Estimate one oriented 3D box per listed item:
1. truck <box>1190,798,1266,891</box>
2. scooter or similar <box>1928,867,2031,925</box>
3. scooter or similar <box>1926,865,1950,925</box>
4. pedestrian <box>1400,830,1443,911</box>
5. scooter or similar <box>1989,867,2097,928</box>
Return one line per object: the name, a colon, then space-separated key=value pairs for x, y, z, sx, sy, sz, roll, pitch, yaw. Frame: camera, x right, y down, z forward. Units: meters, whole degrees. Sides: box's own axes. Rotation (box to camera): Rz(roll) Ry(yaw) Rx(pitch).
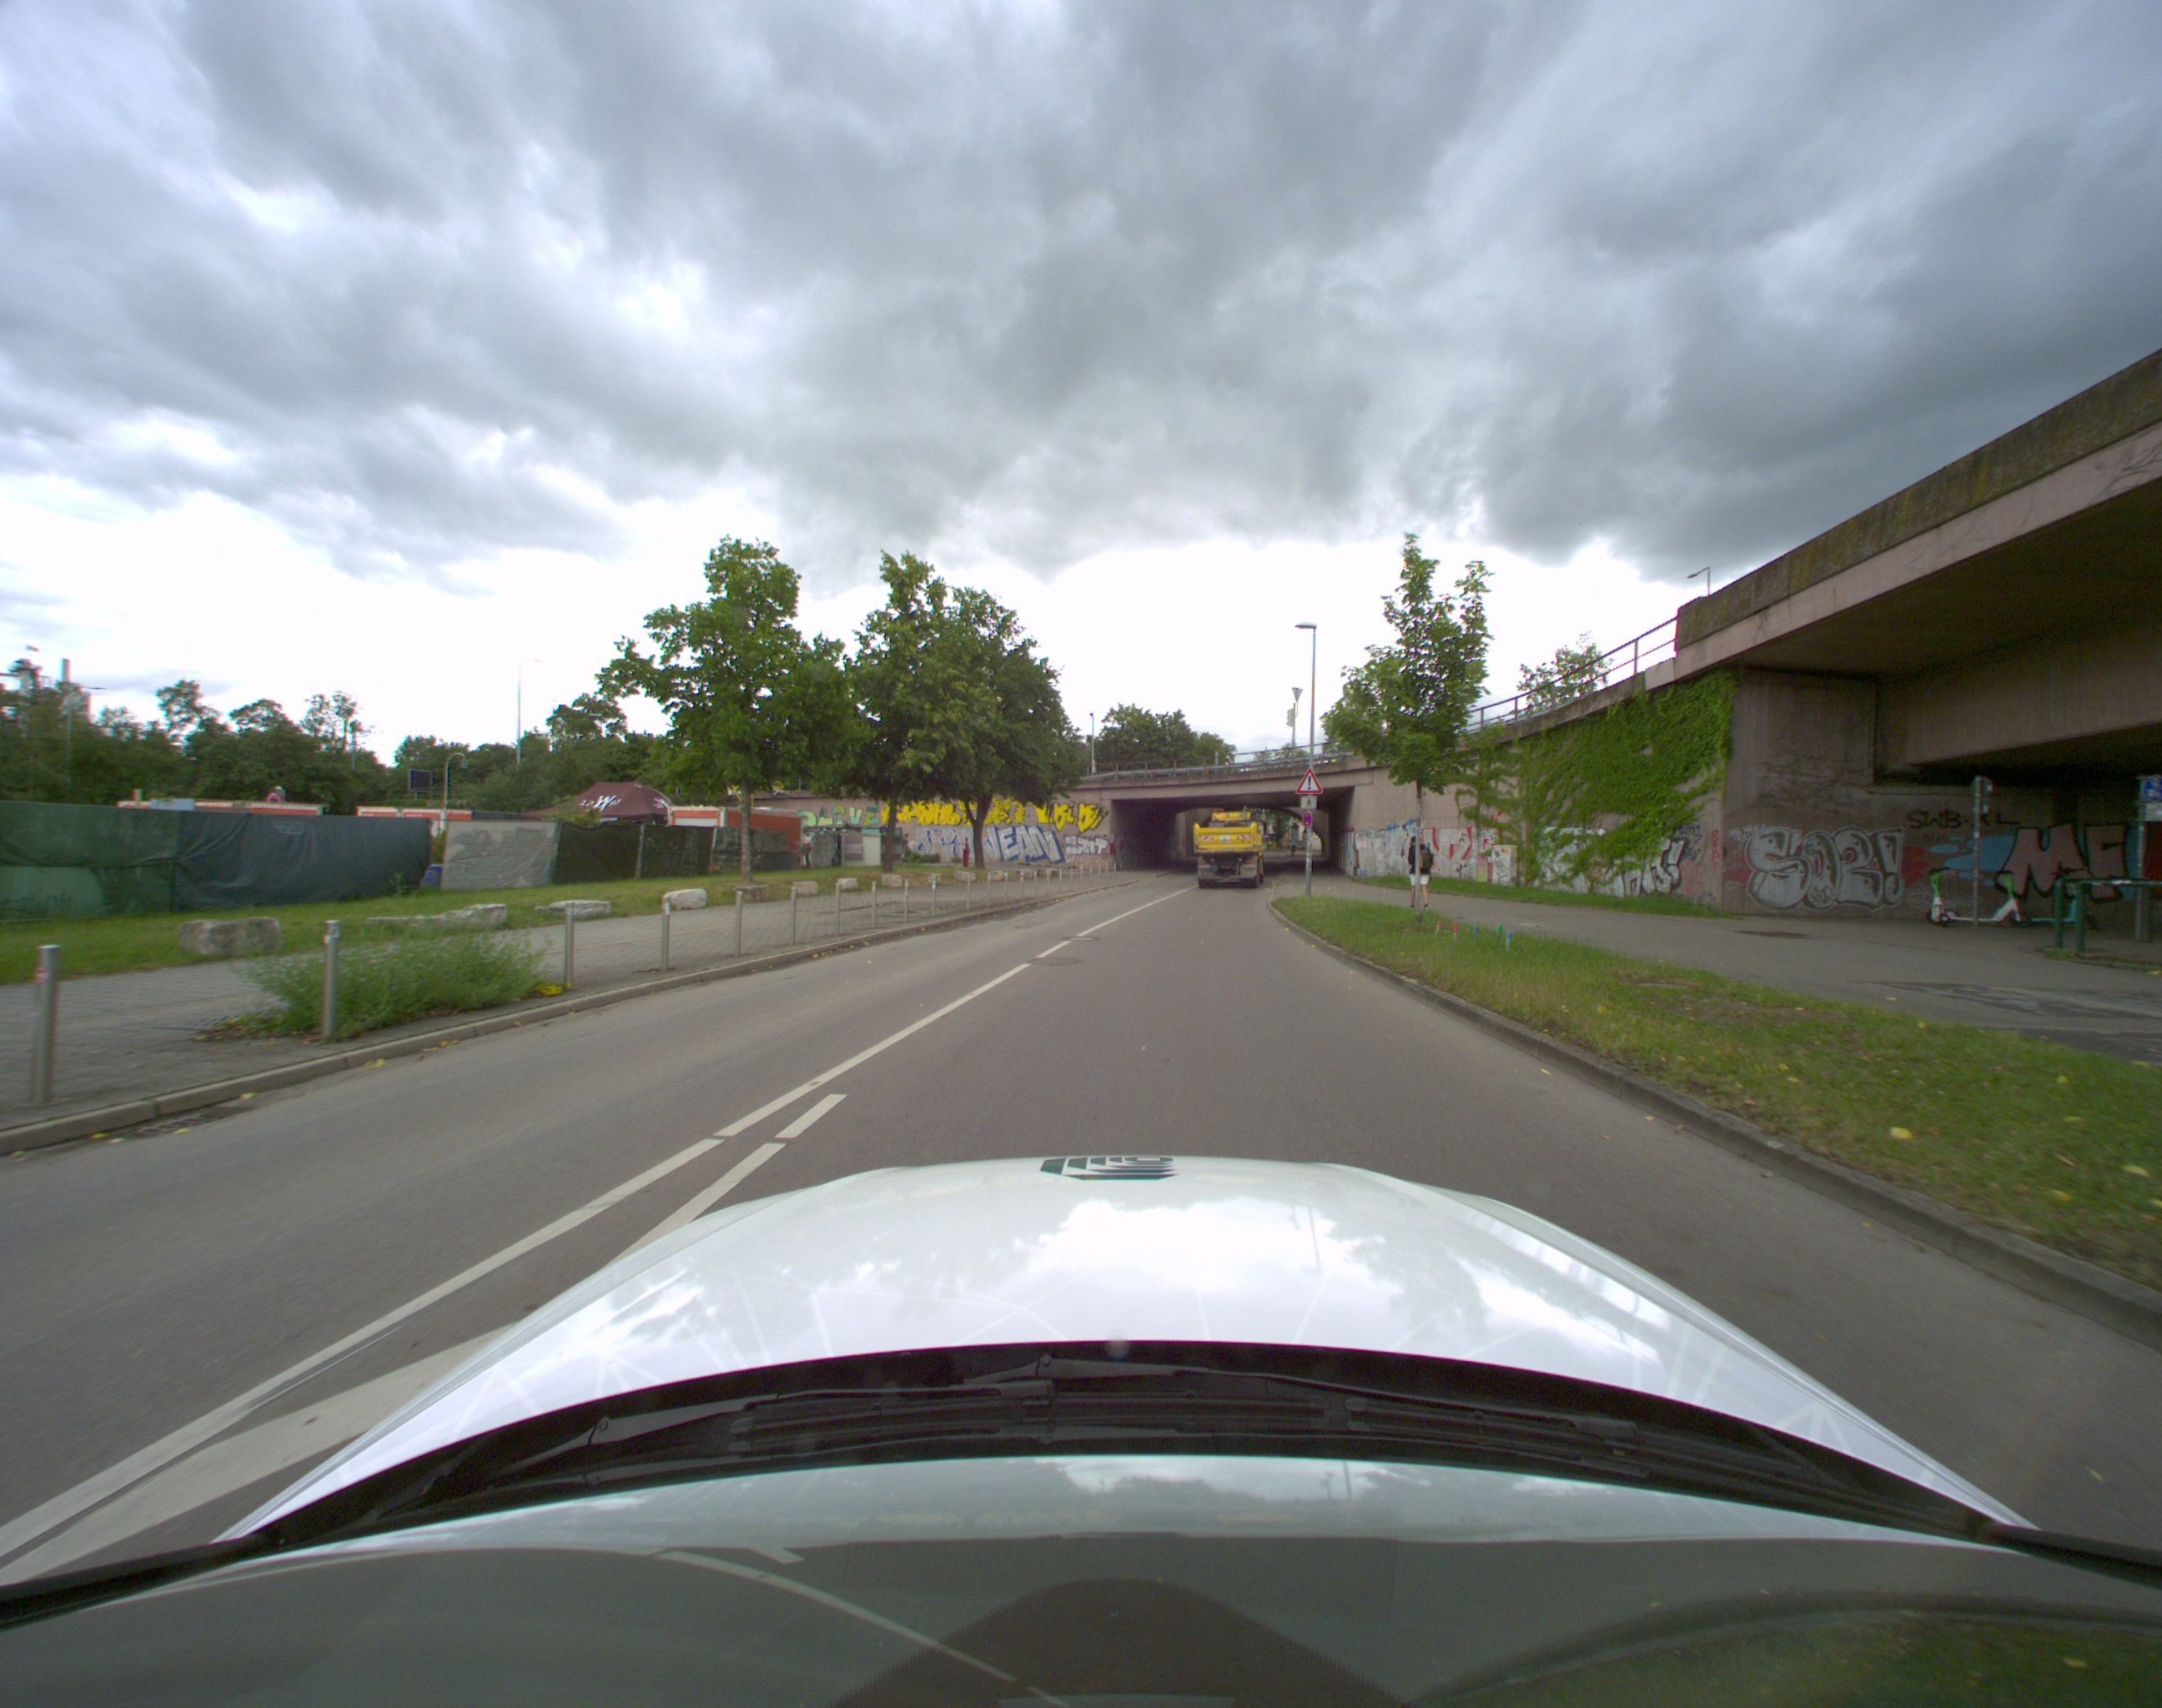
truck: x=6.812 y=-0.364 z=36.791 sx=2.738 sy=3.698 sz=7.910 roll=1 pitch=0 yaw=14
scooter or similar: x=18.644 y=0.850 z=16.939 sx=0.270 sy=1.129 sz=1.428 roll=1 pitch=0 yaw=-21
scooter or similar: x=17.118 y=0.794 z=16.271 sx=0.266 sy=1.129 sz=1.690 roll=1 pitch=0 yaw=44
pedestrian: x=8.284 y=0.390 z=19.832 sx=0.731 sy=1.907 sz=0.826 roll=1 pitch=0 yaw=4
scooter or similar: x=19.847 y=0.868 z=16.832 sx=0.270 sy=1.168 sz=1.428 roll=1 pitch=0 yaw=-21
